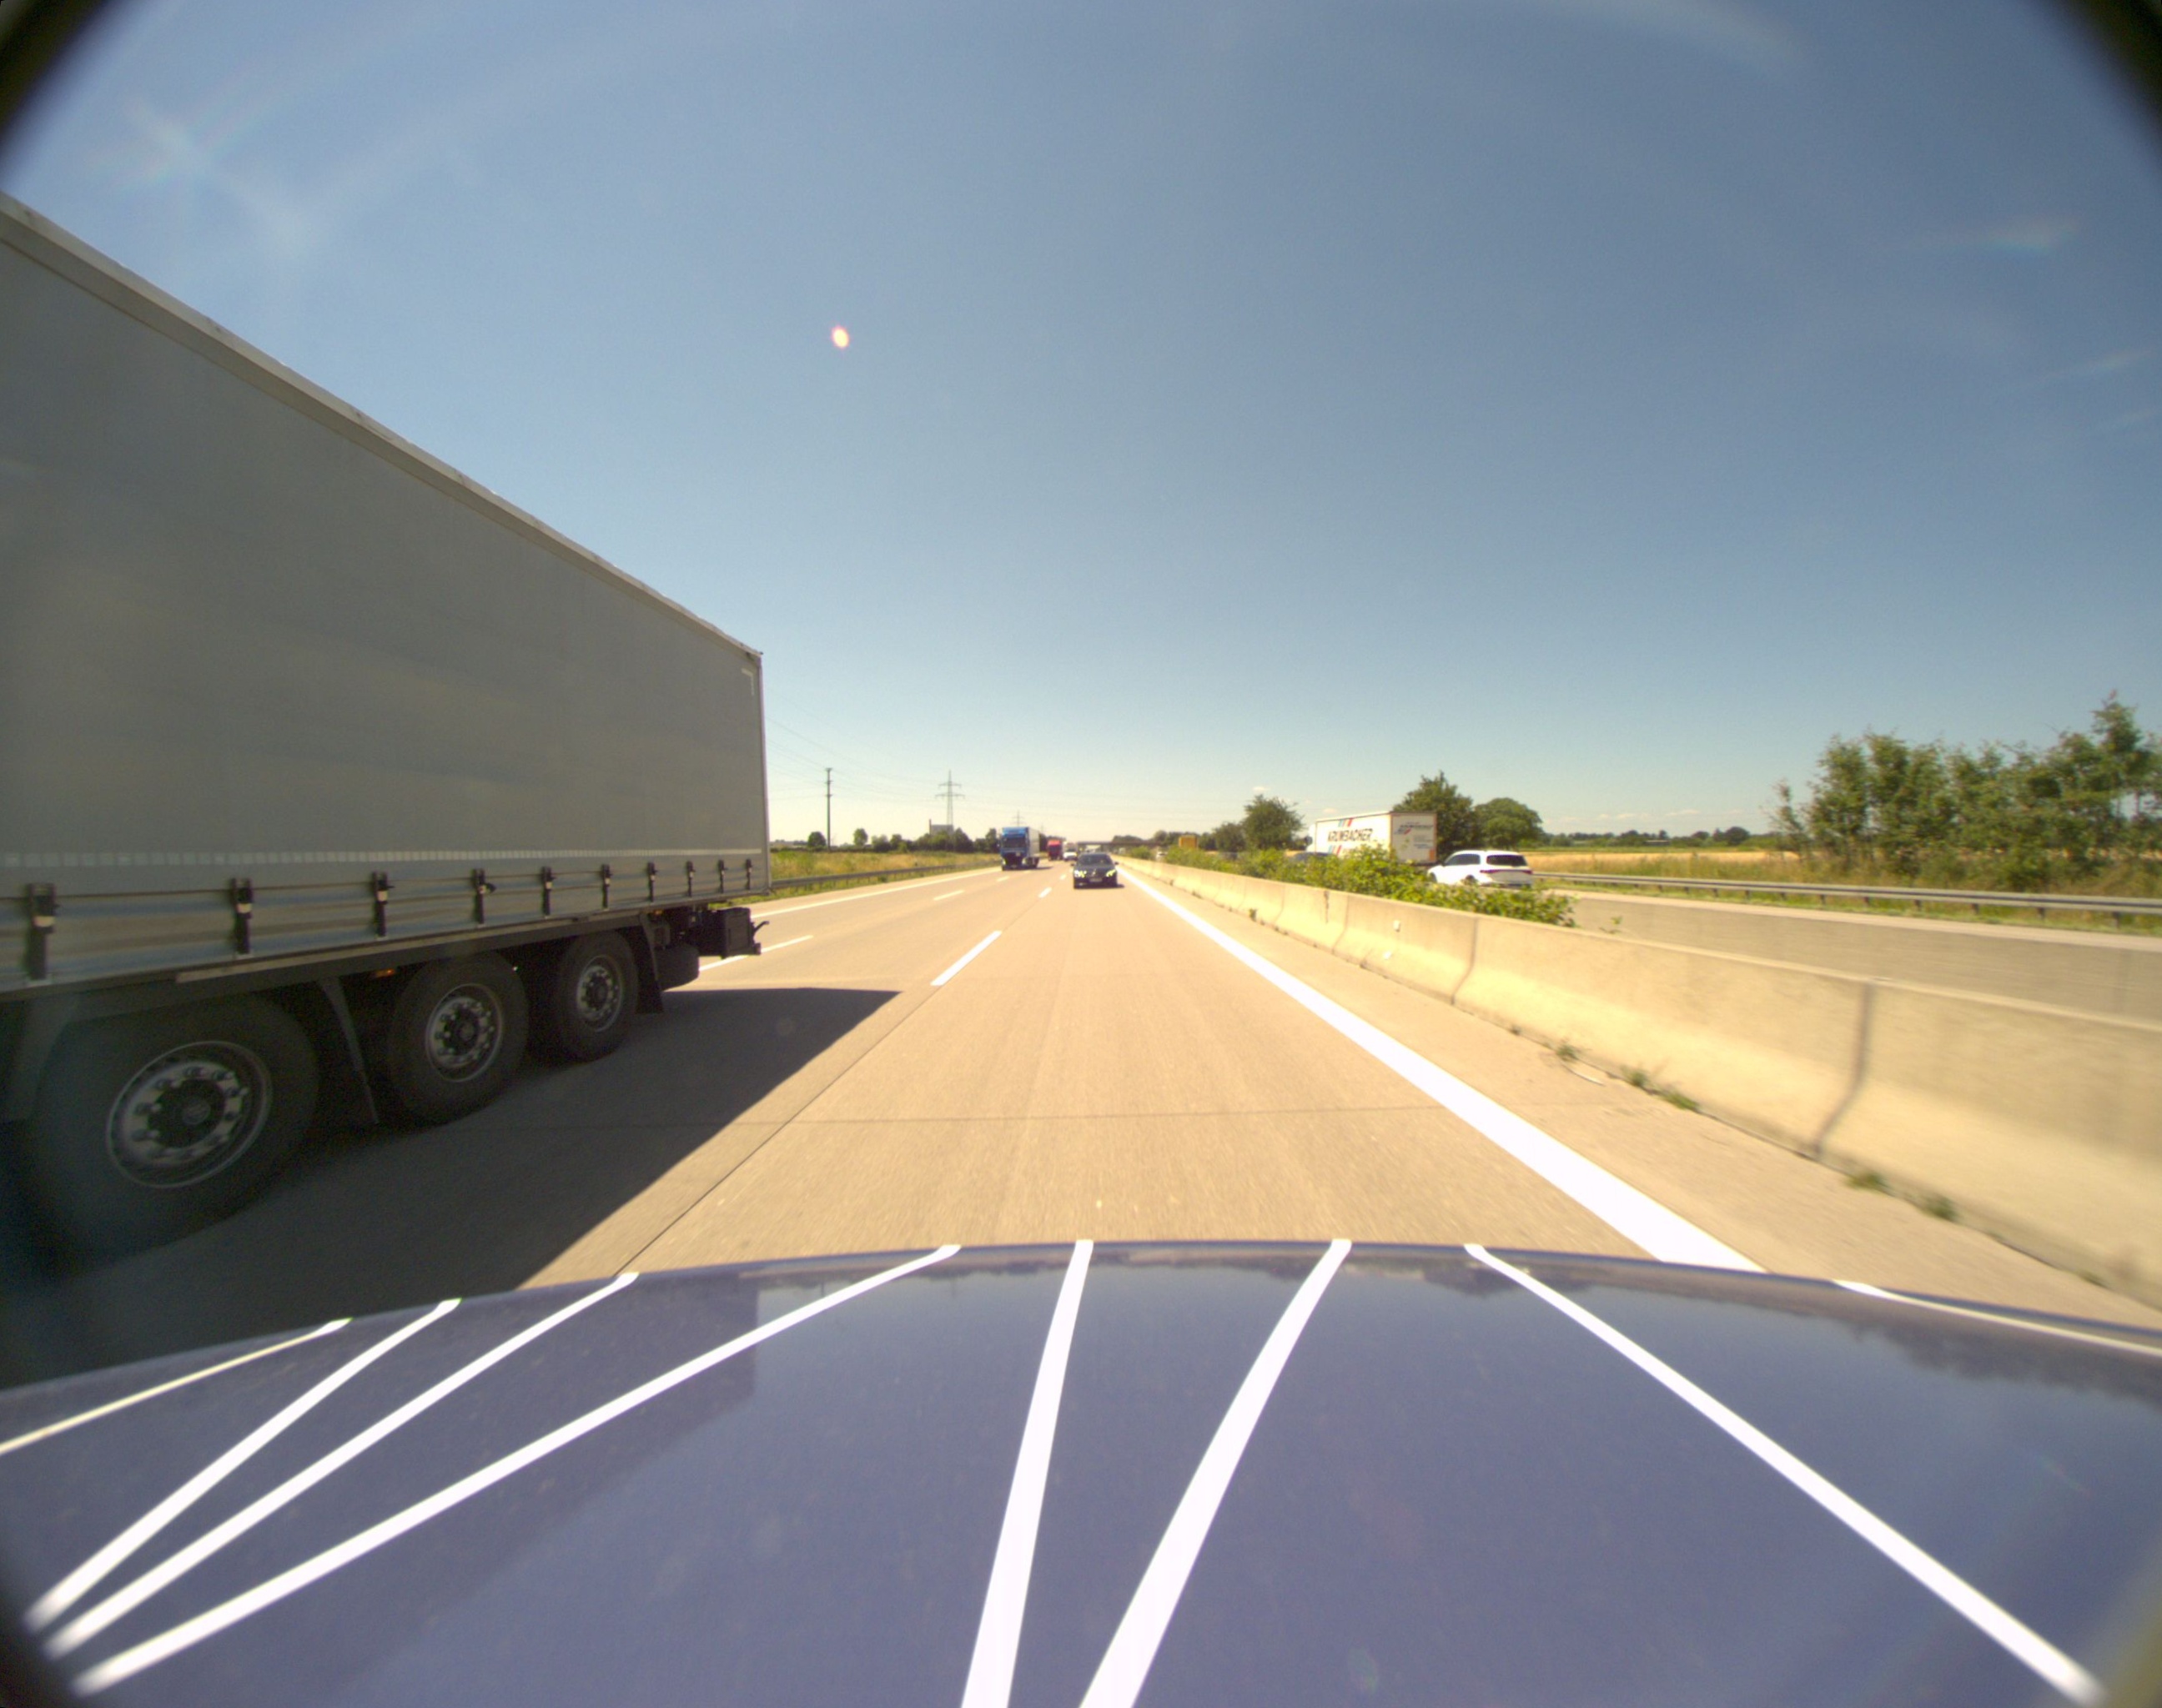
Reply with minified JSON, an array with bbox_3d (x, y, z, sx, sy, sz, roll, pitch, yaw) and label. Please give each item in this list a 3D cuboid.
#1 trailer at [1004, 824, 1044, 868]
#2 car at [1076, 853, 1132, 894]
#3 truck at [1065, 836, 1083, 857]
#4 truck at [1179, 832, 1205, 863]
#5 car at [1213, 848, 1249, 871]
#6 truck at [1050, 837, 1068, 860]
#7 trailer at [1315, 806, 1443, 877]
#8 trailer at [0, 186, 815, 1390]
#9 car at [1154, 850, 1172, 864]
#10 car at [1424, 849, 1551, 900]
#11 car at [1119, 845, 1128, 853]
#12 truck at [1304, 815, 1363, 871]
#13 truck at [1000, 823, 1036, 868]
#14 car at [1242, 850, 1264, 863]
[{"bbox_3d":[-5.792,-0.809,78.844,2.715,4.020,12.902,-2,0,1],"label":"trailer"},{"bbox_3d":[0.841,0.698,30.322,1.998,1.462,6.347,0,0,0],"label":"car"},{"bbox_3d":[-1.072,-1.182,128.311,2.784,3.328,7.812,-2,0,1],"label":"truck"},{"bbox_3d":[15.265,-0.877,104.472,2.750,4.056,5.540,-2,1,1],"label":"truck"},{"bbox_3d":[10.460,0.346,53.320,1.731,1.476,4.117,-2,0,1],"label":"car"},{"bbox_3d":[-4.298,-1.122,152.647,2.855,4.298,10.886,-2,0,1],"label":"truck"},{"bbox_3d":[18.319,-0.717,48.224,2.777,3.780,13.827,-2,0,1],"label":"trailer"},{"bbox_3d":[-5.123,-0.207,2.849,3.025,4.037,14.205,-2,0,0],"label":"trailer"},{"bbox_3d":[10.665,0.337,99.048,1.710,1.793,4.713,-1,1,0],"label":"car"},{"bbox_3d":[13.784,0.628,26.087,1.998,1.575,4.369,1,1,0],"label":"car"},{"bbox_3d":[13.229,-1.588,236.796,2.216,2.176,6.325,-2,0,1],"label":"car"},{"bbox_3d":[18.388,-0.775,55.555,2.777,3.817,4.451,-2,1,1],"label":"truck"},{"bbox_3d":[-5.925,-0.762,72.204,2.757,4.020,5.466,-2,1,1],"label":"truck"},{"bbox_3d":[15.669,0.208,69.298,1.306,1.056,2.898,-2,0,1],"label":"car"}]
